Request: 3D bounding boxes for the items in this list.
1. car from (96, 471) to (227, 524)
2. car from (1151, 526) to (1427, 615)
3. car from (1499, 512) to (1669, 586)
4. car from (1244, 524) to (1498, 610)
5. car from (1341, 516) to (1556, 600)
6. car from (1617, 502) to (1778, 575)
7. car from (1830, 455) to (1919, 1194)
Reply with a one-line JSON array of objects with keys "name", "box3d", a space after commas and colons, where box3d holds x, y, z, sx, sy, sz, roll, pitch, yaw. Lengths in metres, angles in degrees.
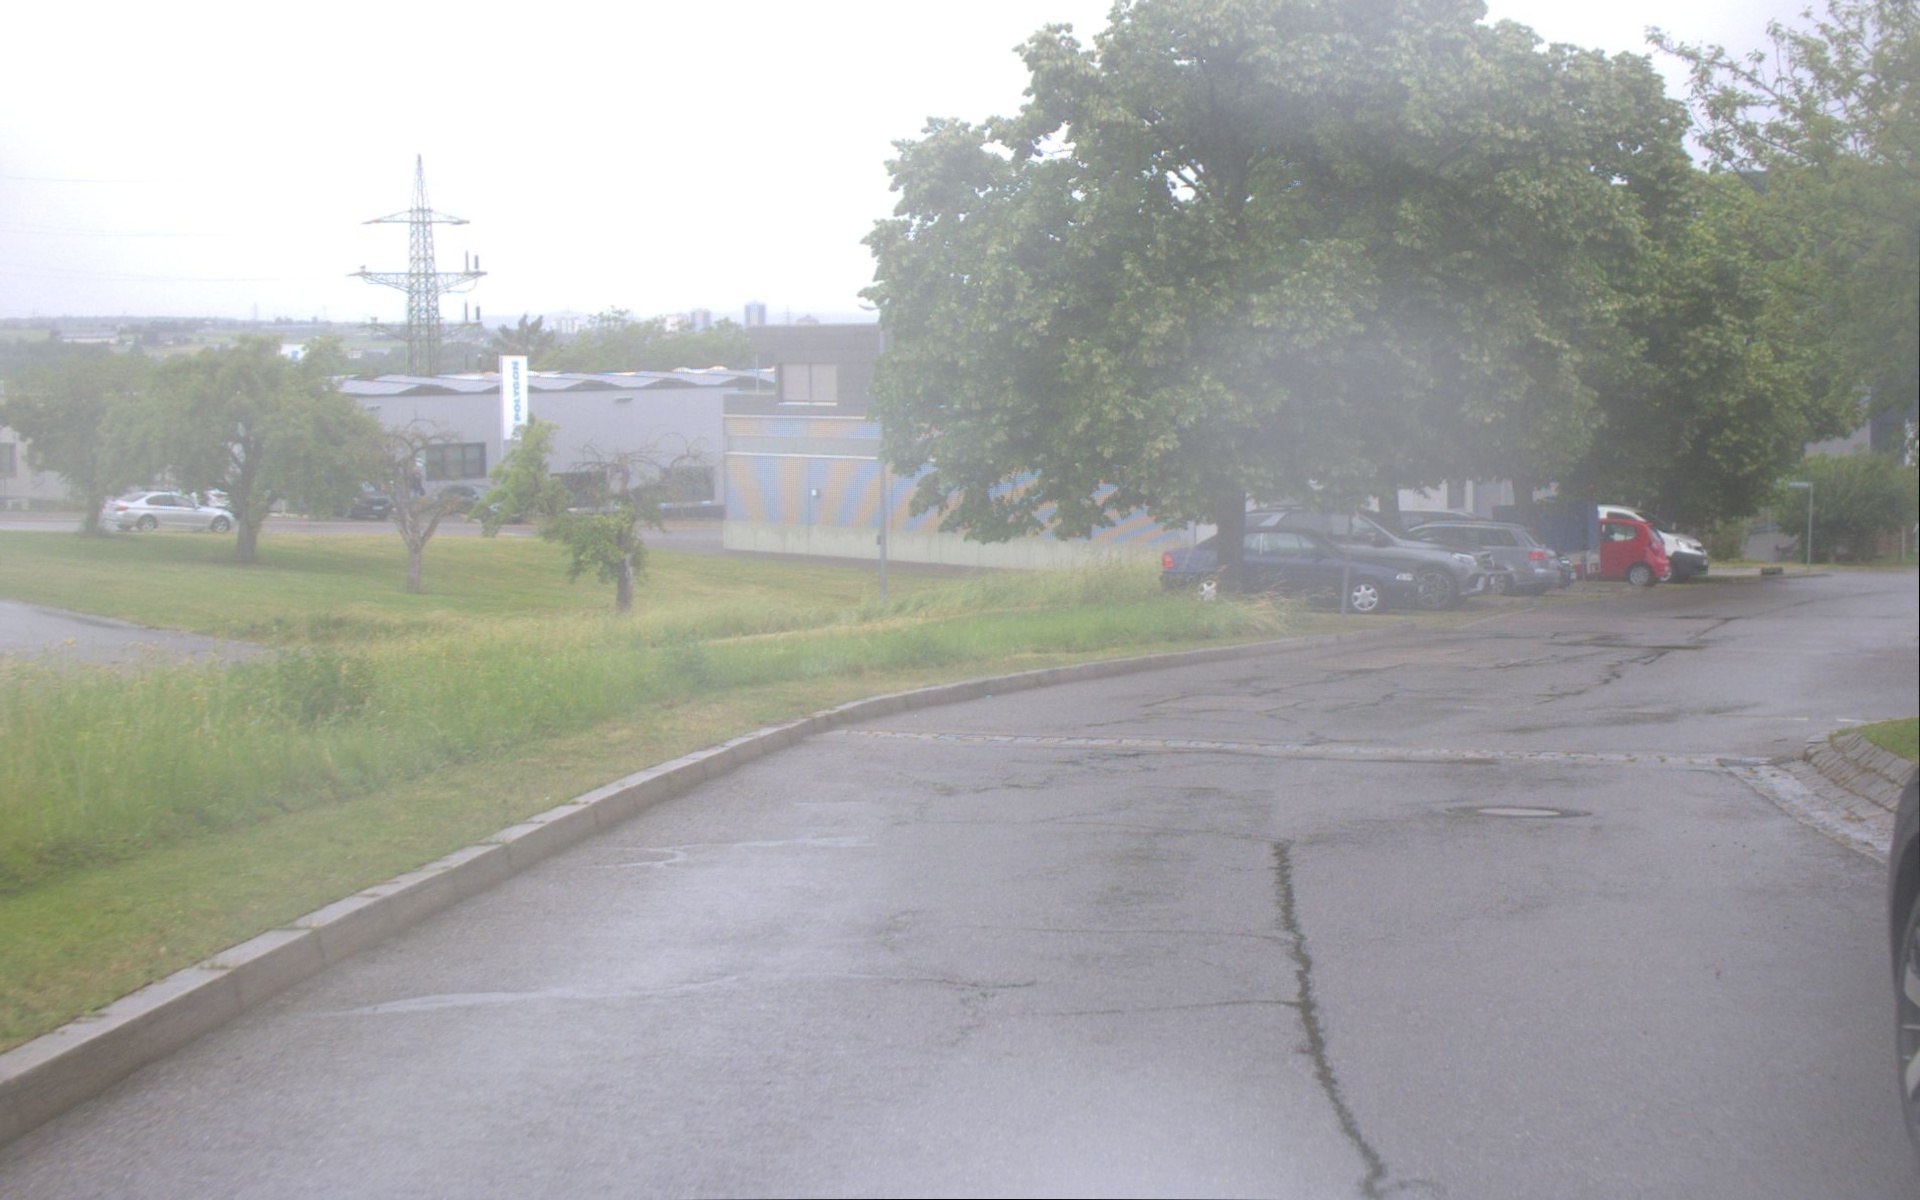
[{"name": "car", "box3d": [-29.185, -3.741, 125.712, 4.263, 1.696, 1.797, 1, 4, -37]}, {"name": "car", "box3d": [5.354, -0.483, 55.769, 4.168, 1.350, 1.861, -1, 1, 16]}, {"name": "car", "box3d": [14.128, -1.150, 77.773, 3.564, 1.600, 1.691, -1, 1, 19]}, {"name": "car", "box3d": [6.938, -0.563, 57.874, 3.990, 1.356, 1.853, -1, 1, 16]}, {"name": "car", "box3d": [9.310, -0.820, 65.435, 3.872, 1.542, 1.772, 1, 1, 15]}, {"name": "car", "box3d": [19.378, -1.615, 90.260, 3.990, 1.804, 1.999, -1, 1, 16]}, {"name": "car", "box3d": [3.071, 0.571, 6.514, 1.809, 1.697, 4.598, 1, 2, 2]}]
